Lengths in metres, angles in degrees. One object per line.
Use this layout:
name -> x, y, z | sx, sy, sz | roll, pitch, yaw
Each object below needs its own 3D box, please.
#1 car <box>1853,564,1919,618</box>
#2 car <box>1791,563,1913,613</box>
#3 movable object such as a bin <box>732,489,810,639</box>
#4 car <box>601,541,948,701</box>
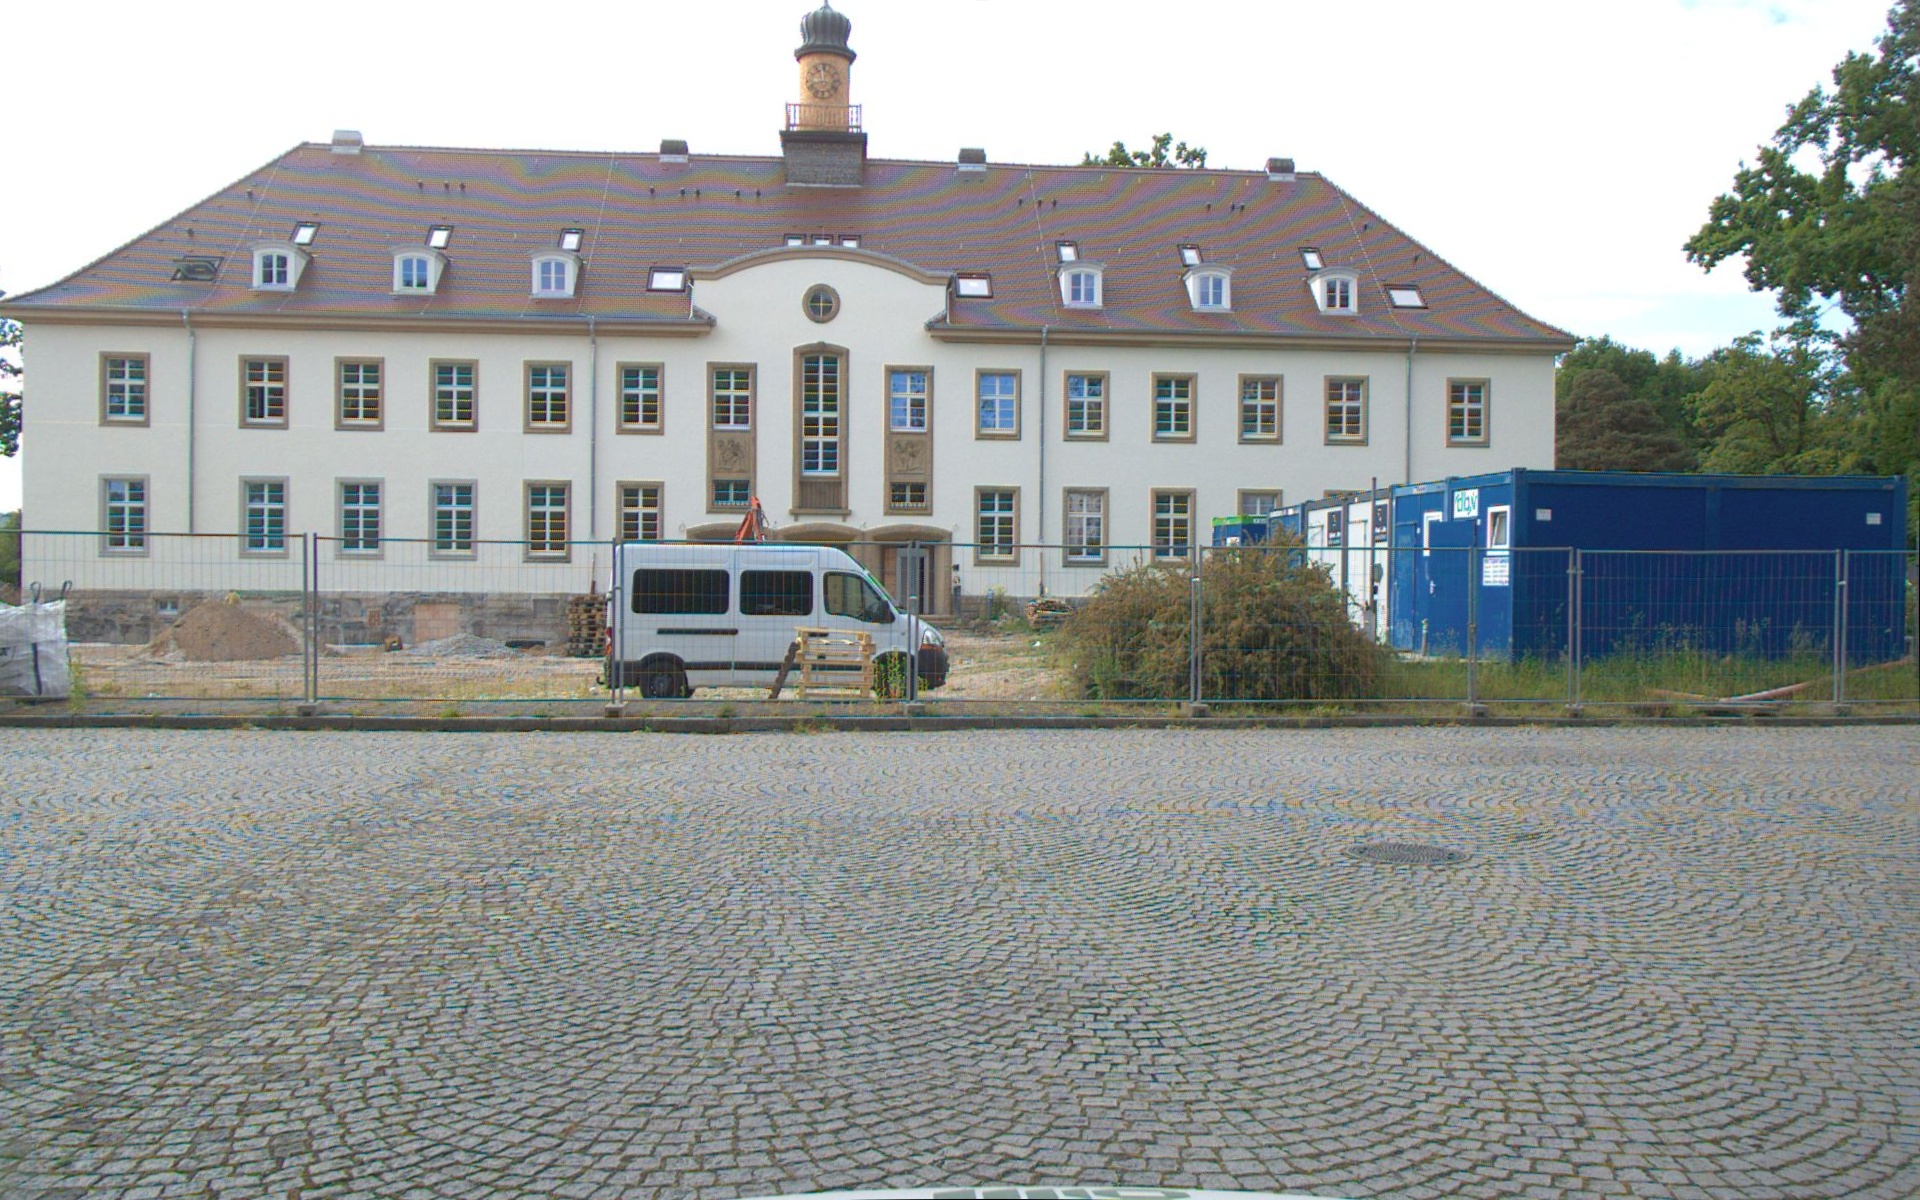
car -> 28.158, -0.286, 48.856 | 3.944, 1.513, 1.600 | -1, 2, -37
car -> 28.285, -0.383, 52.421 | 4.397, 1.528, 1.741 | -1, 1, -37
movable object such as a bin -> -5.222, -0.931, 45.196 | 1.956, 3.837, 5.307 | 0, 0, -8
car -> -2.809, 0.314, 25.721 | 5.158, 2.385, 1.909 | 0, 0, -4
